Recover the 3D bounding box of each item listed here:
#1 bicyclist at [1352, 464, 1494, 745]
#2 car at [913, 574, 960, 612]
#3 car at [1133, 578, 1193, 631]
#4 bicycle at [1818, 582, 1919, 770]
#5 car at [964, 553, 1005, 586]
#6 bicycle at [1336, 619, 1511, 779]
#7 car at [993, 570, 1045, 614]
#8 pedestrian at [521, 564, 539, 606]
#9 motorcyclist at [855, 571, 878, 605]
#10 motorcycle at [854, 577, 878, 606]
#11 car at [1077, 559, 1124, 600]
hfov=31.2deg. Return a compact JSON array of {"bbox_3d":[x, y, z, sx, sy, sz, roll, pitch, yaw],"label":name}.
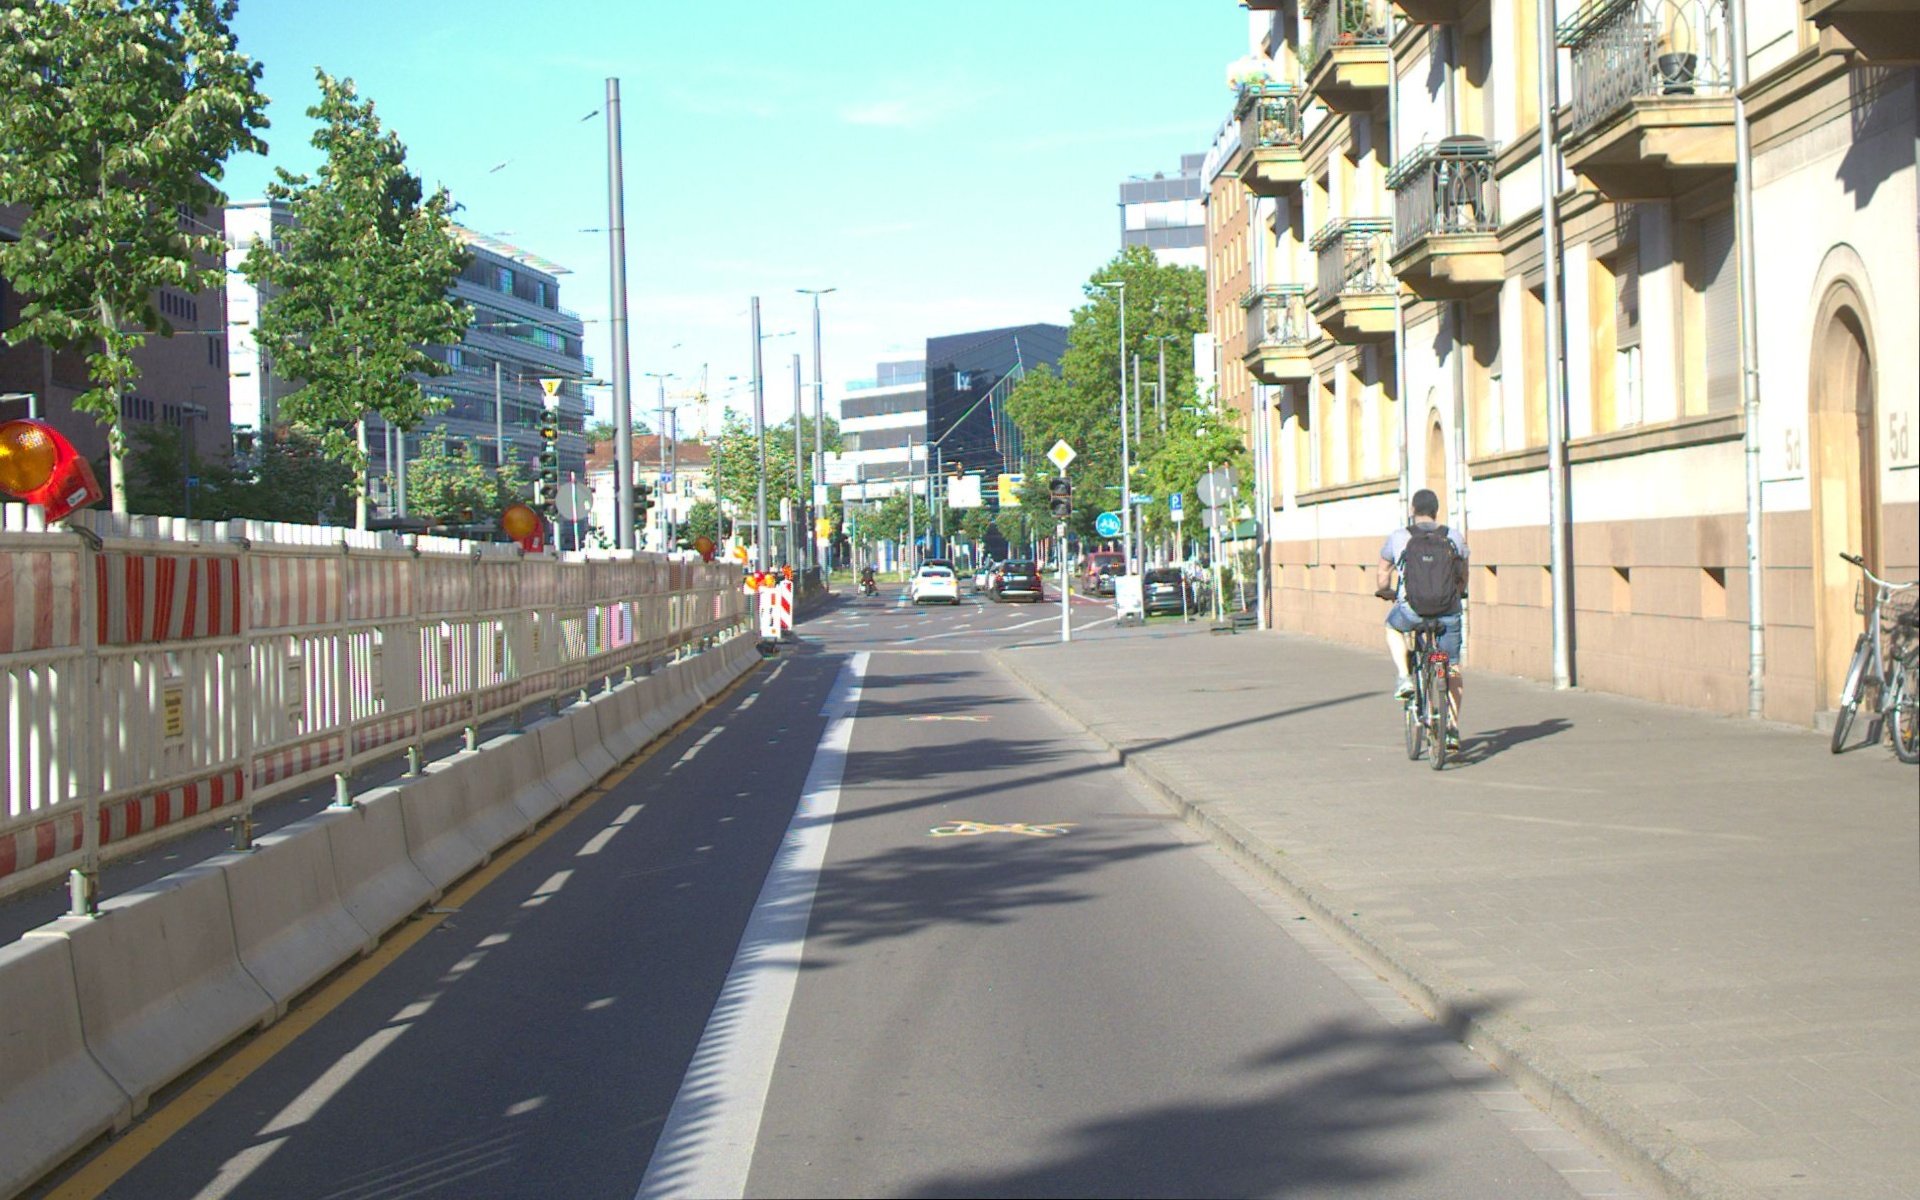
[{"bbox_3d":[2.983,0.026,22.204,0.733,1.757,0.938,-1,0,-1],"label":"bicyclist"},{"bbox_3d":[-0.925,-0.286,133.967,1.780,1.409,4.819,1,0,-1],"label":"car"},{"bbox_3d":[6.547,0.117,110.586,1.721,1.631,4.230,-2,0,6],"label":"car"},{"bbox_3d":[5.800,0.440,21.206,0.418,1.092,2.198,-1,0,-1],"label":"bicycle"},{"bbox_3d":[1.160,-1.461,164.307,1.851,1.492,4.379,-2,1,-1],"label":"car"},{"bbox_3d":[2.986,0.618,22.360,0.767,0.950,2.198,-1,0,-1],"label":"bicycle"},{"bbox_3d":[2.391,-0.341,139.572,1.975,1.753,4.632,1,0,0],"label":"car"},{"bbox_3d":[-17.541,-0.618,140.193,0.640,1.690,0.541,1,0,0],"label":"pedestrian"},{"bbox_3d":[-4.345,-0.561,159.758,1.019,1.598,1.148,1,0,0],"label":"motorcyclist"},{"bbox_3d":[-4.342,-0.387,159.669,1.019,1.307,2.914,1,0,0],"label":"motorcycle"},{"bbox_3d":[6.189,-0.920,151.677,1.846,1.555,4.633,1,3,0],"label":"car"}]
